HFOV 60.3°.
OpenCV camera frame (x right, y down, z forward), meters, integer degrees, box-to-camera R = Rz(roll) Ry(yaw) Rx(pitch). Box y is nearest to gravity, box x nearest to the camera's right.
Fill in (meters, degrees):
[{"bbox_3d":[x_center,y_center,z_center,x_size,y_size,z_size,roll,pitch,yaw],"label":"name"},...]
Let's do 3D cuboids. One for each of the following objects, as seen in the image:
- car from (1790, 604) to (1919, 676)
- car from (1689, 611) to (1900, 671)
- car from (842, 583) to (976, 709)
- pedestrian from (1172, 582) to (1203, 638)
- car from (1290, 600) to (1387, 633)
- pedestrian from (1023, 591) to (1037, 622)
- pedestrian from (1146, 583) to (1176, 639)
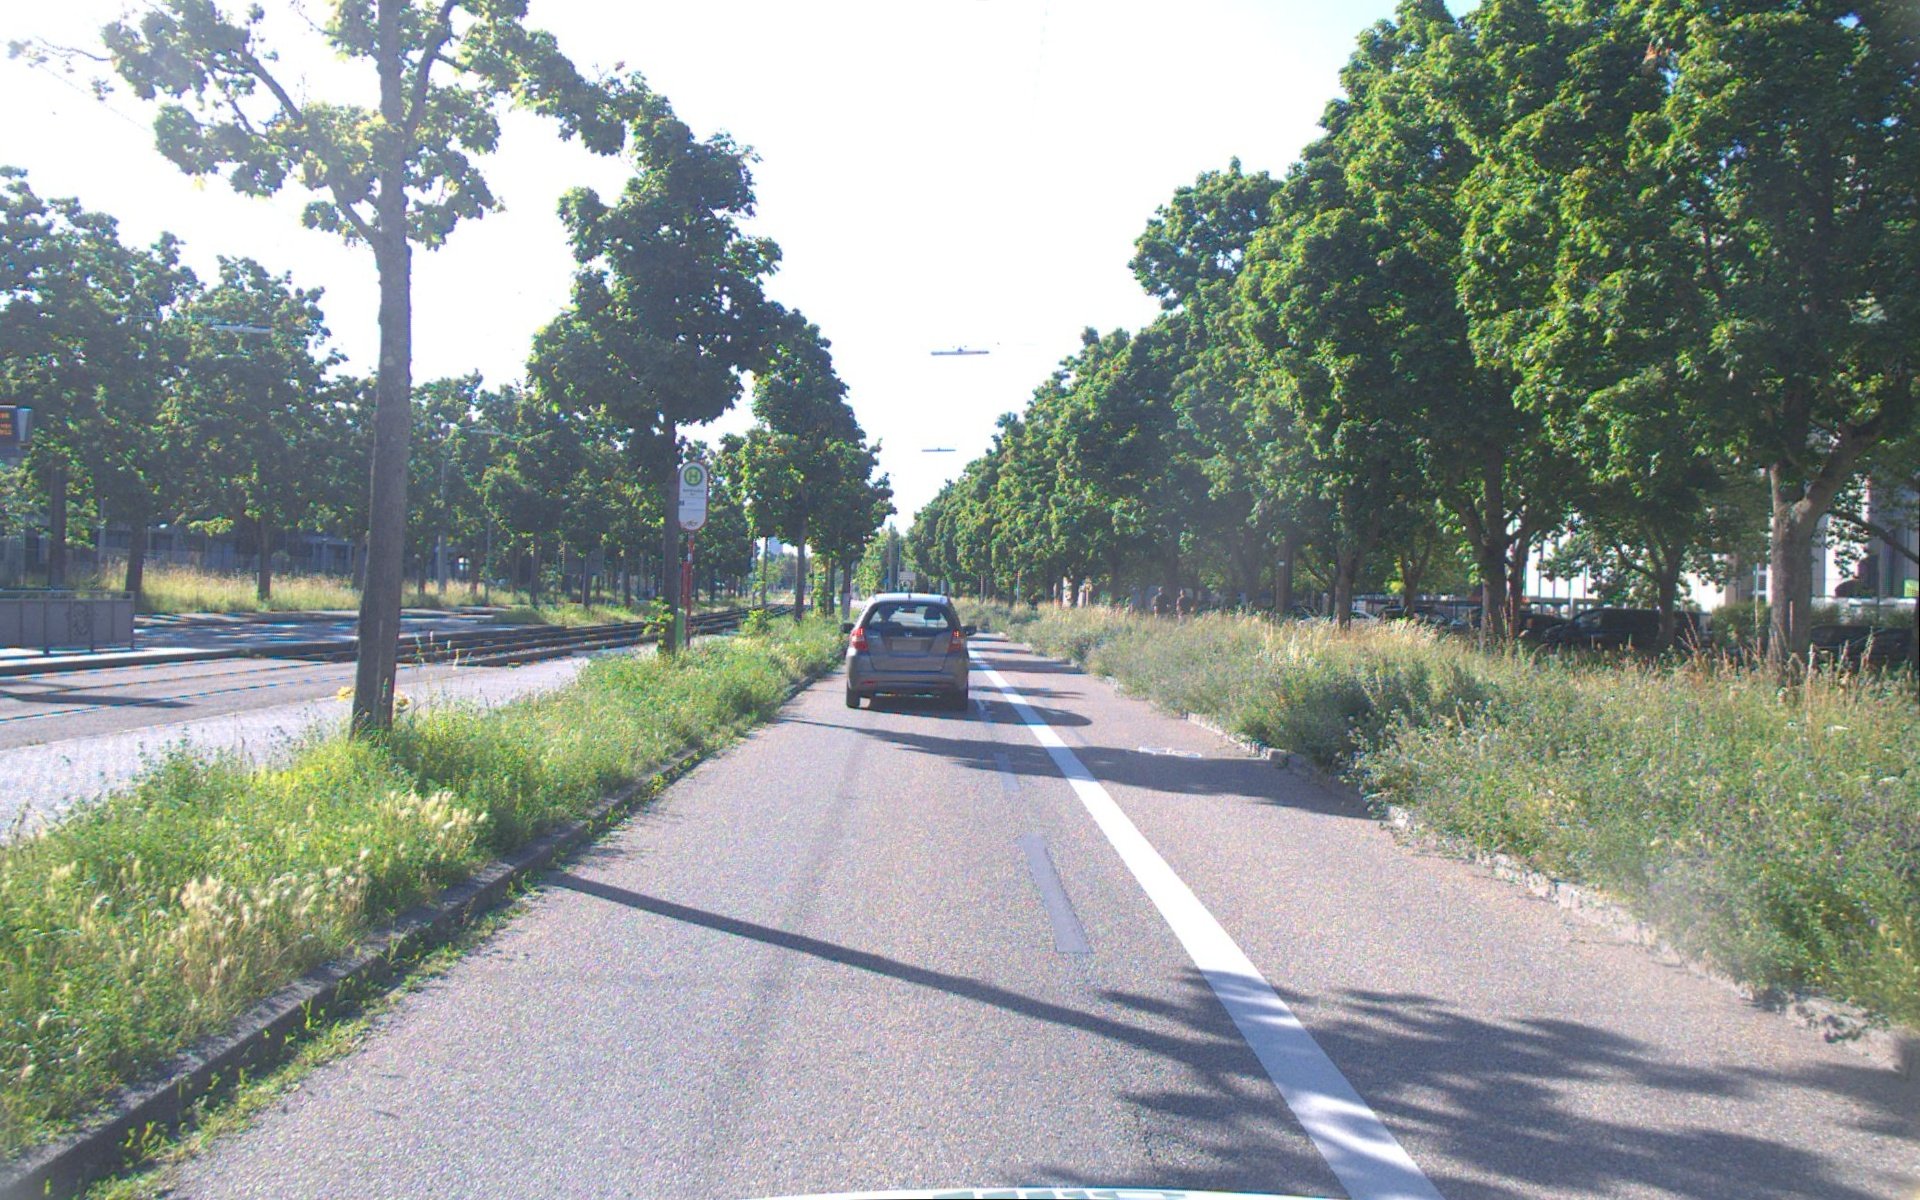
[{"bbox_3d":[22.140,0.962,39.239,4.147,1.583,1.921,2,0,36],"label":"car"},{"bbox_3d":[21.457,1.028,42.574,4.591,1.350,2.084,2,0,35],"label":"car"},{"bbox_3d":[-0.641,0.633,23.163,1.666,1.550,3.709,3,-1,1],"label":"car"},{"bbox_3d":[7.946,0.358,57.817,0.864,1.917,0.875,2,0,-3],"label":"pedestrian"},{"bbox_3d":[19.769,0.854,86.411,4.541,1.583,1.998,2,0,-6],"label":"car"},{"bbox_3d":[3.994,0.359,94.142,0.710,1.720,0.821,2,0,-2],"label":"pedestrian"},{"bbox_3d":[7.025,0.378,57.810,0.864,1.917,0.875,2,0,-3],"label":"pedestrian"}]
